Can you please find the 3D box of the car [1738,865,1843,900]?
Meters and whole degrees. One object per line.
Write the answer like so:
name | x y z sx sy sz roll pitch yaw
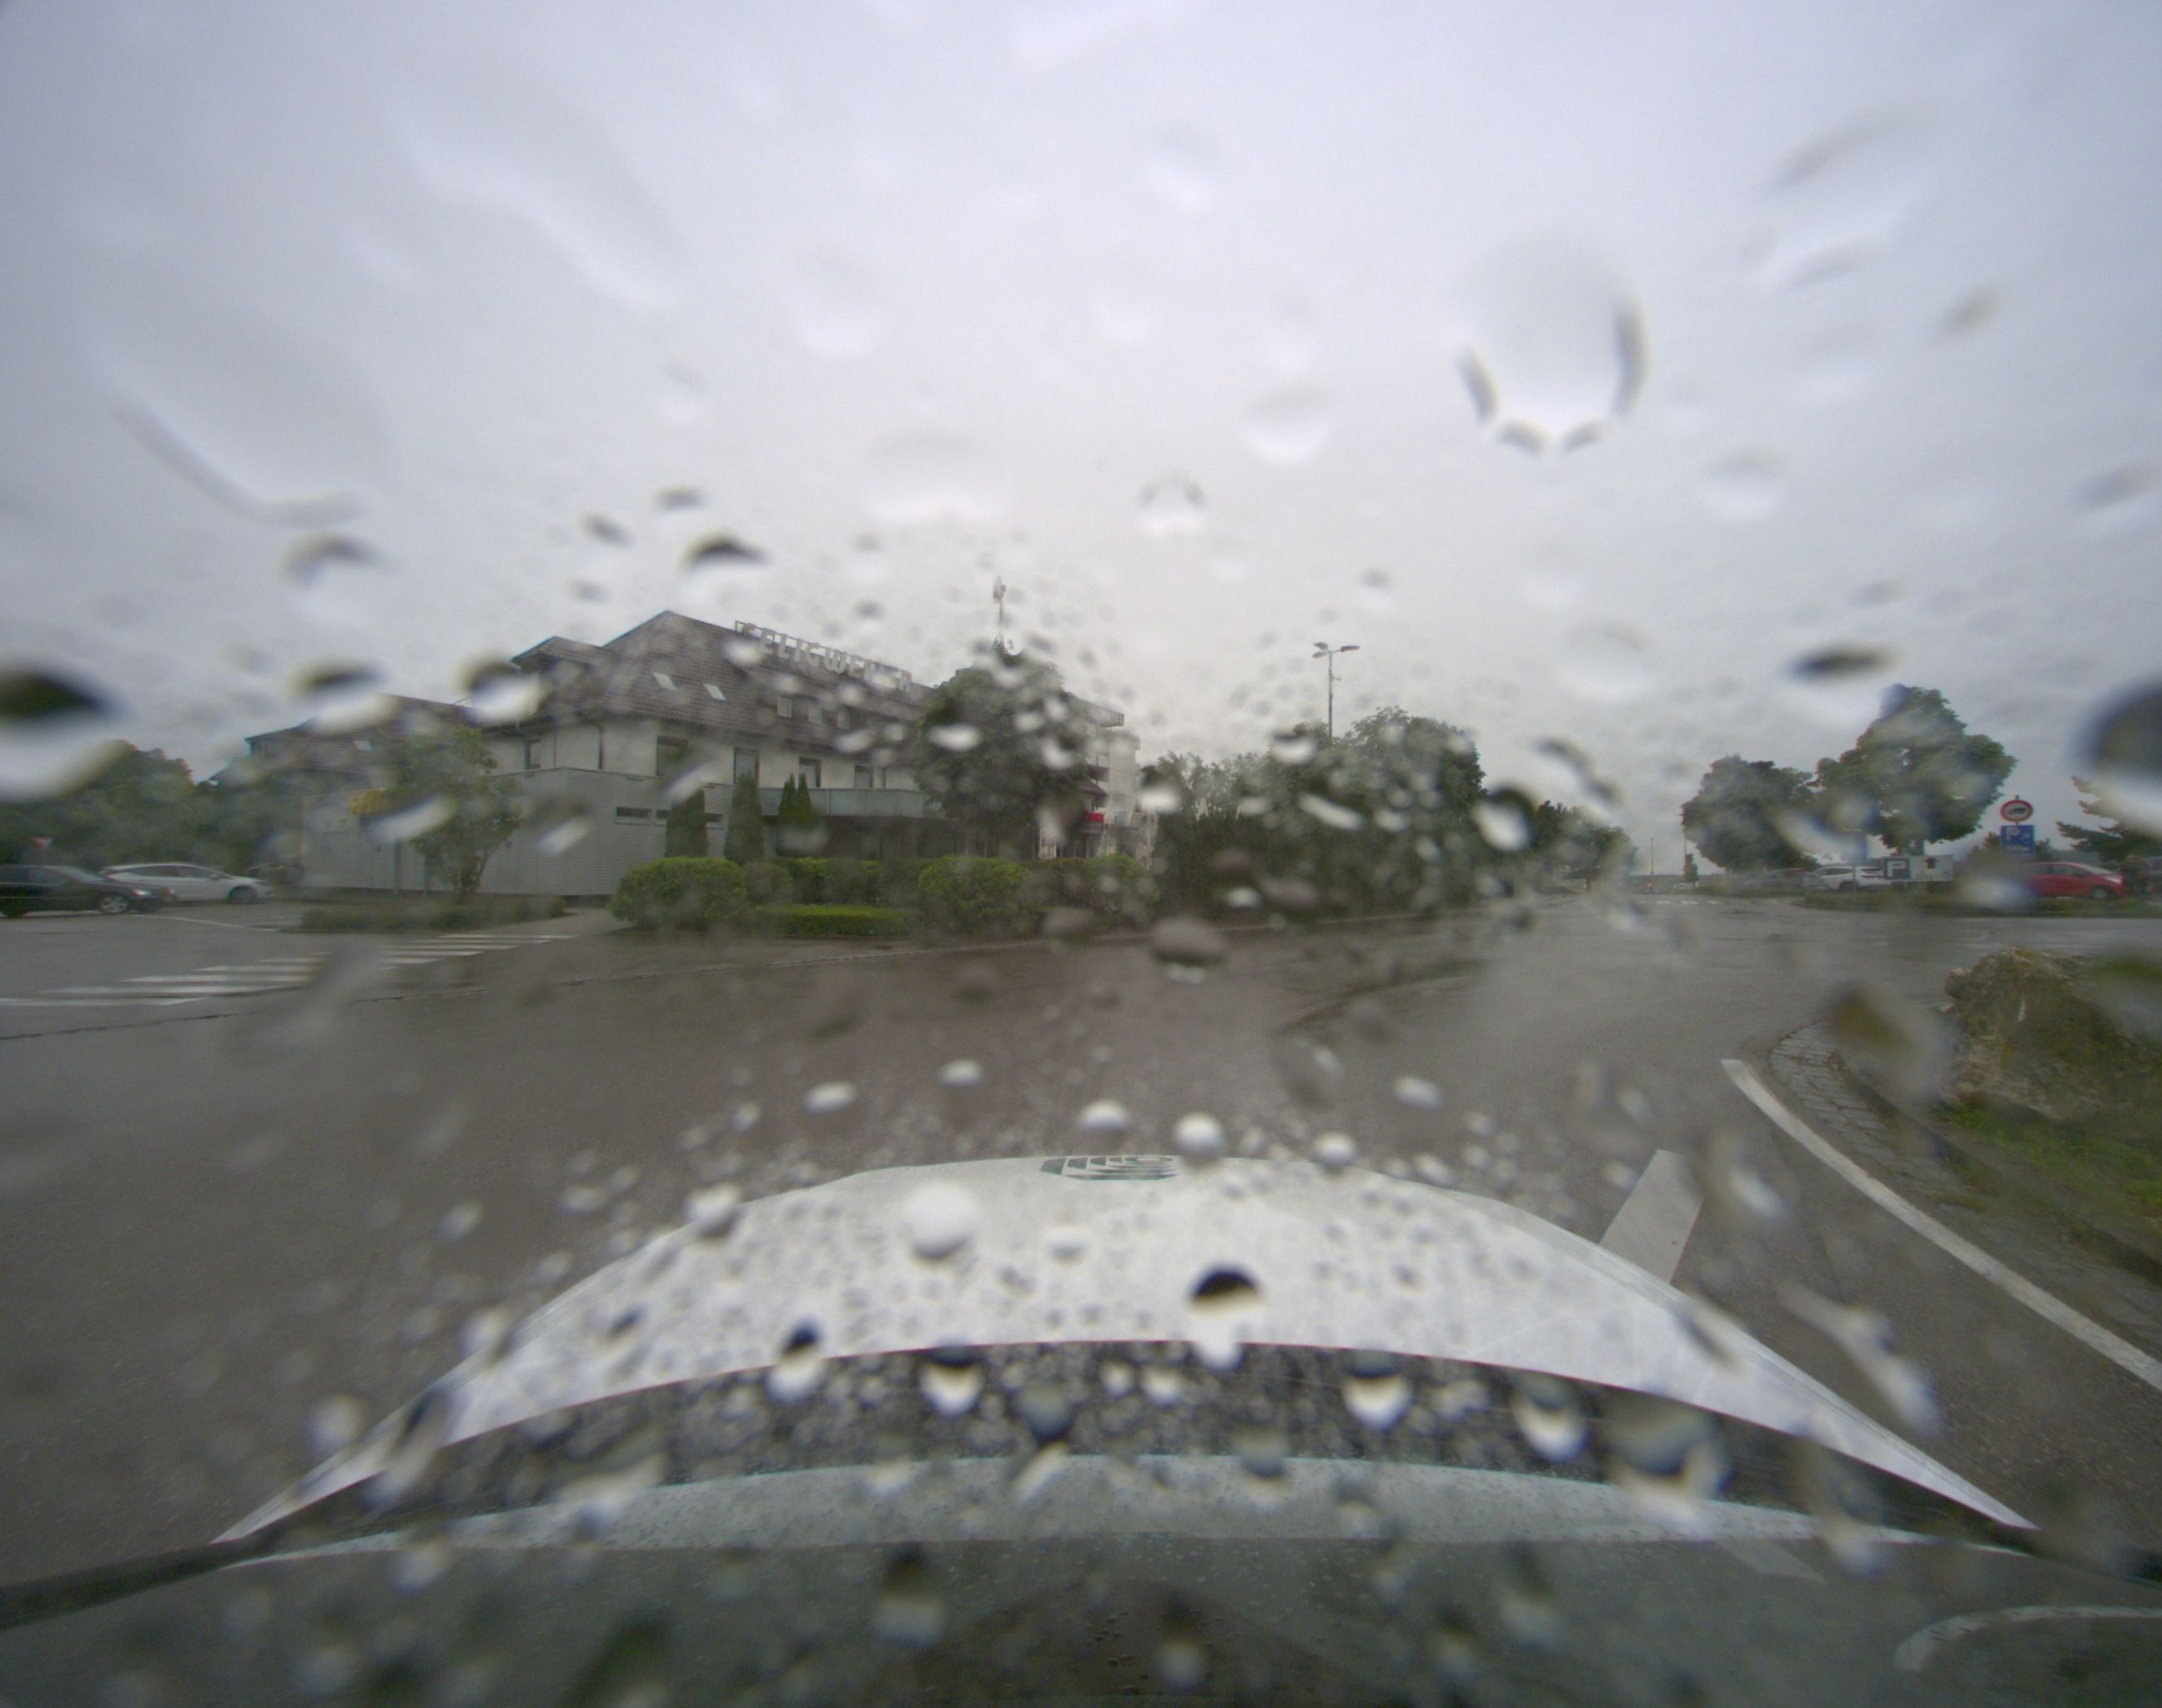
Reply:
car | 37.550 1.540 43.249 1.715 1.716 4.012 2 -3 -9

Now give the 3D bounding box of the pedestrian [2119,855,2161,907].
pedestrian | 34.219 0.887 26.319 0.648 1.639 0.709 3 -4 -31

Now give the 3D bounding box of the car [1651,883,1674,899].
car | 77.025 4.913 107.887 4.021 2.014 1.688 4 -3 -43

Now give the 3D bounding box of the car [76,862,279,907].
car | -30.931 0.995 28.039 1.826 1.425 4.387 -1 -1 31

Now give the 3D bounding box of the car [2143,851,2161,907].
car | 36.162 0.724 24.381 1.993 1.792 4.934 0 -2 -10

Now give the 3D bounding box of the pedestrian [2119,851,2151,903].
pedestrian | 35.949 0.787 27.777 0.686 1.725 0.605 3 -3 -34

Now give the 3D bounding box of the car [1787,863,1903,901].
car | 40.620 1.519 43.440 1.715 1.862 4.353 2 -3 -9

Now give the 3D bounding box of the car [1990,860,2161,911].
car | 38.147 1.209 31.231 1.845 1.792 4.009 0 -2 -10

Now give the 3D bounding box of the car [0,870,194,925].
car | -28.387 1.190 22.896 4.358 1.425 1.696 0 0 -19

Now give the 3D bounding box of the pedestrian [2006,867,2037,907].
pedestrian | 32.696 1.161 28.313 0.636 1.362 0.455 0 -3 40
